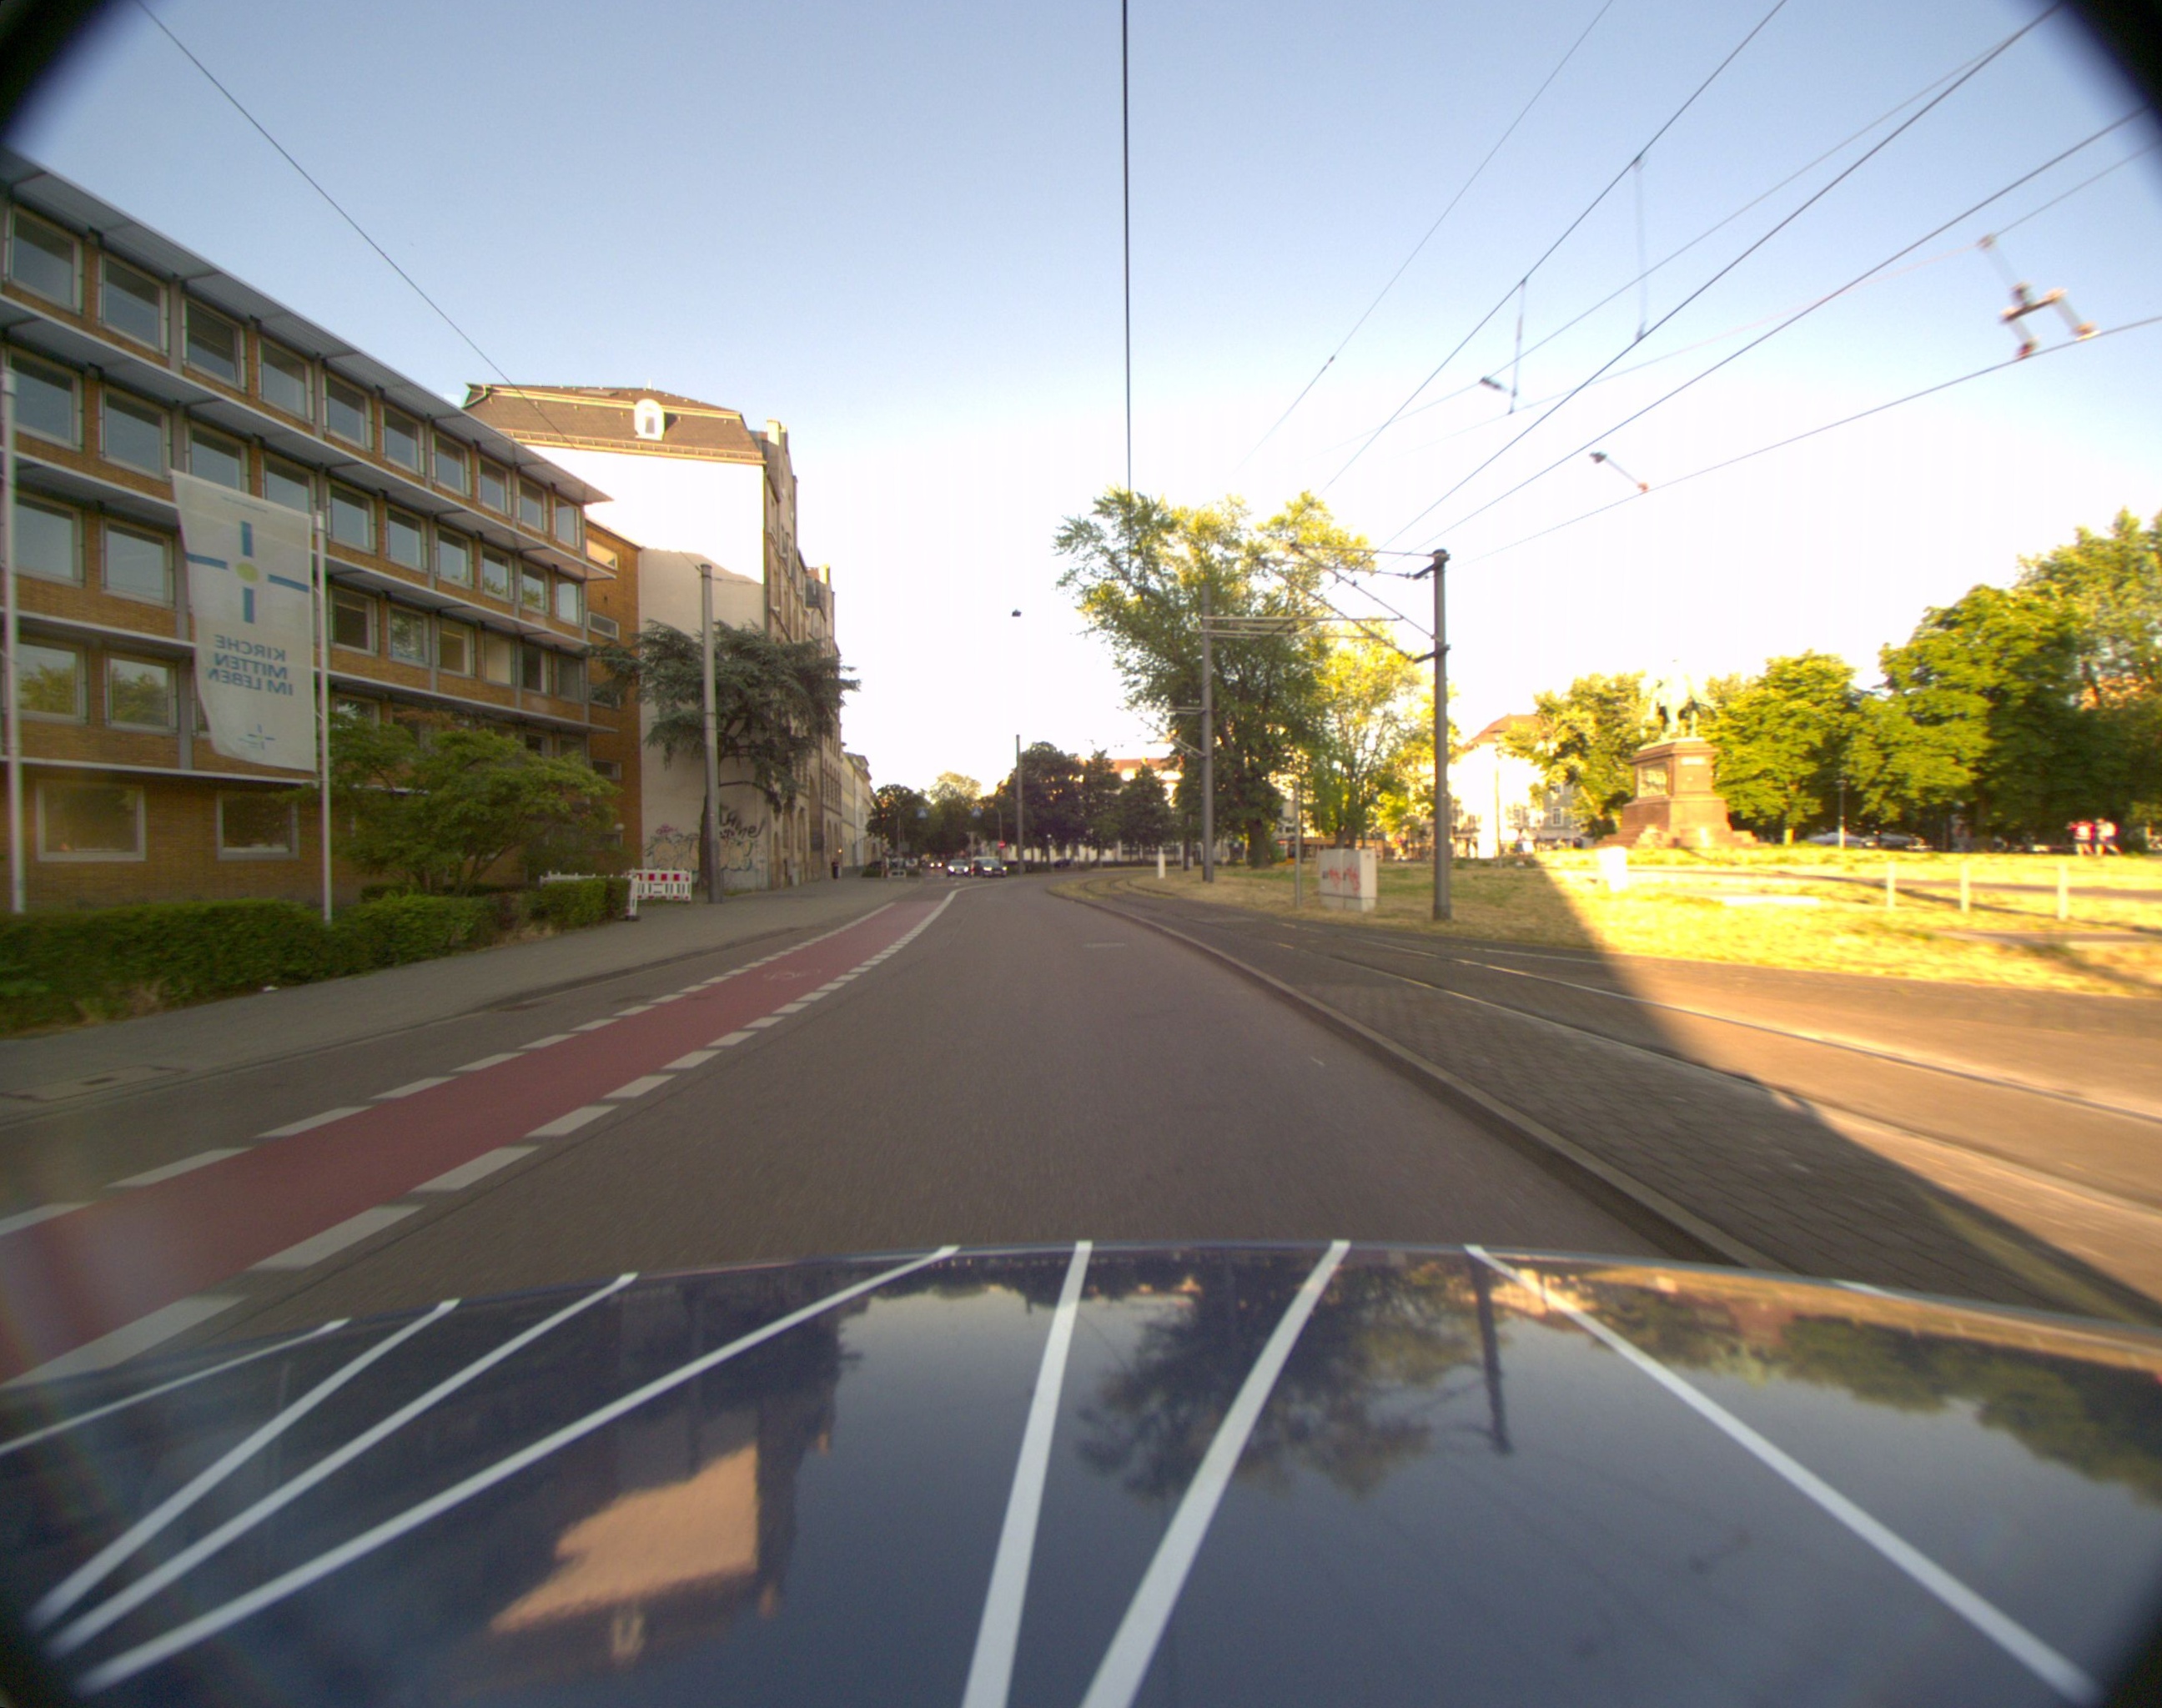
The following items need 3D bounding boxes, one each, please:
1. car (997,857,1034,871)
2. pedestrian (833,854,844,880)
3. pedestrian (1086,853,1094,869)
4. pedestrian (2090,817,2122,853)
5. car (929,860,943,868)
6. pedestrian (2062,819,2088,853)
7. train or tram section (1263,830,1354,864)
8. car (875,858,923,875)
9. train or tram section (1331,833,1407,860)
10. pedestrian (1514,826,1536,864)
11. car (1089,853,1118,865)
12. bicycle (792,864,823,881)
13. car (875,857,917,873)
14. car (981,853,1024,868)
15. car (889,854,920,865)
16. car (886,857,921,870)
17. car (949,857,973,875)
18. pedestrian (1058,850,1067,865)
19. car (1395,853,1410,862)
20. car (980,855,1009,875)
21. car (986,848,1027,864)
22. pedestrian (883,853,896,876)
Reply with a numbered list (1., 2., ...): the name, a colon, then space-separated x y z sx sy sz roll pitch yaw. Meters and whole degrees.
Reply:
1. car: -7.552 1.179 88.043 4.064 1.542 2.001 0 -1 4
2. pedestrian: -16.258 0.861 50.915 0.577 1.699 0.721 0 0 -8
3. pedestrian: 1.019 0.753 83.586 0.768 1.705 0.786 0 -1 10
4. pedestrian: 45.268 -0.821 33.573 0.619 1.571 0.554 0 0 12
5. car: -25.516 1.771 133.872 1.820 1.473 4.135 -1 -1 -4
6. pedestrian: 44.795 -0.786 34.254 0.453 1.503 0.554 0 0 12
7. train or tram section: 25.767 -0.853 85.298 13.392 3.563 2.942 -2 1 -40
8. car: -17.757 1.229 74.188 4.400 1.548 1.836 0 -1 -10
9. train or tram section: 35.710 -0.971 93.826 12.881 3.123 2.924 -2 1 -41
10. pedestrian: 19.891 -0.394 34.071 0.476 1.680 0.835 0 0 -4
11. car: 3.254 0.748 108.819 4.008 1.714 1.703 -1 -1 9
12. bicycle: -17.759 1.190 49.324 1.856 1.066 0.429 0 -1 -13
13. car: -19.167 1.139 78.849 4.068 1.560 1.836 0 -1 -9
14. car: -10.161 0.883 98.138 5.074 1.891 2.124 -1 -1 12
15. car: -25.696 0.791 110.896 4.400 1.603 1.727 0 -1 -13
16. car: -21.604 1.105 92.733 4.070 1.542 1.998 0 -1 -12
17. car: -10.588 1.062 67.167 1.820 1.473 4.134 0 -1 -5
18. pedestrian: -2.528 0.458 104.498 0.827 2.001 1.011 -1 -1 40
19. car: 57.798 0.677 136.686 1.722 1.542 3.971 -1 -1 11
20. car: -6.594 0.859 57.554 1.821 1.473 4.132 0 -1 -11
21. car: -9.878 0.263 101.116 5.074 2.010 1.969 -1 -1 12
22. pedestrian: -14.784 0.821 58.615 0.591 1.781 0.823 -1 -1 21
